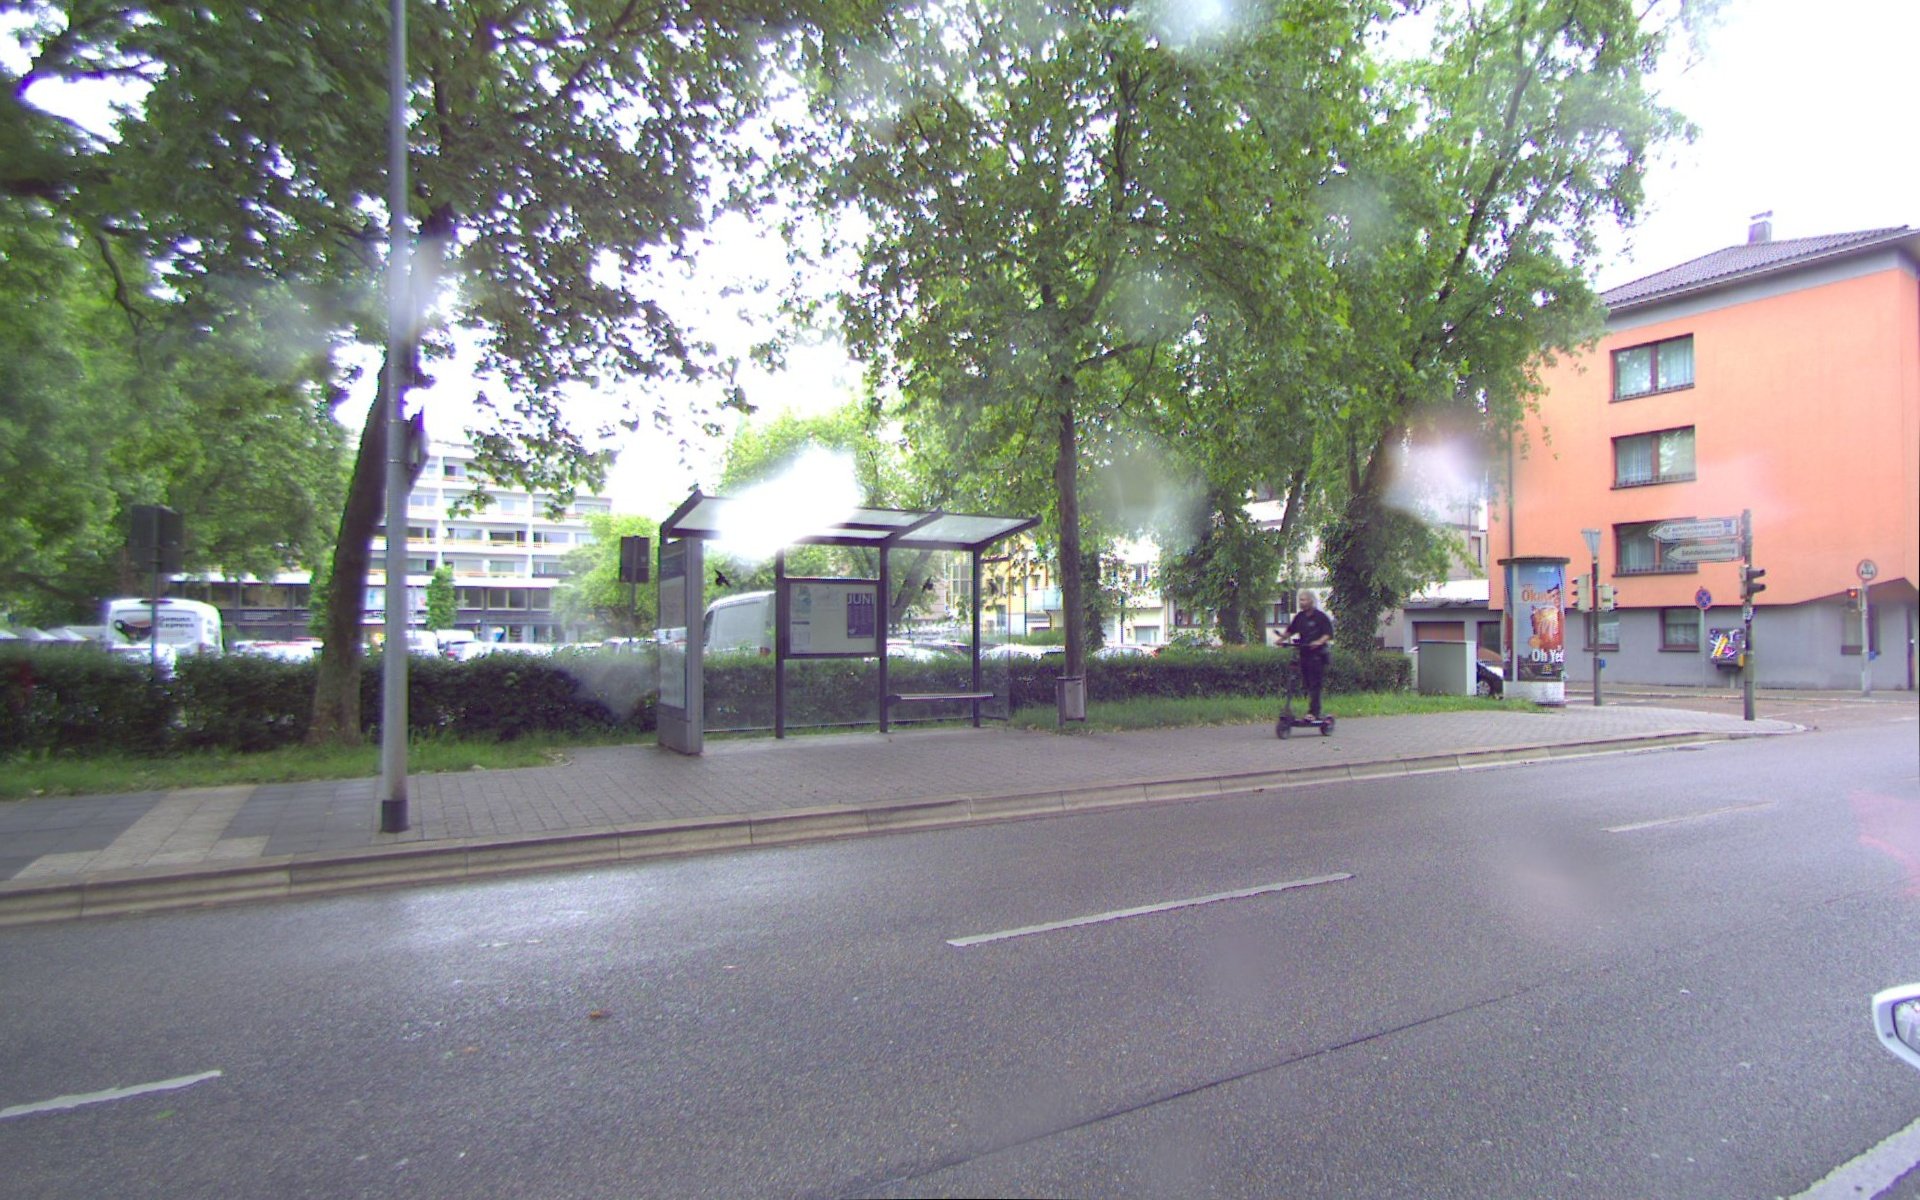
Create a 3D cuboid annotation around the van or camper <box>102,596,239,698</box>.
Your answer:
[{"bbox_3d":[-20.644,1.209,26.486,2.073,2.463,4.310,1,-2,-28],"label":"van or camper"}]

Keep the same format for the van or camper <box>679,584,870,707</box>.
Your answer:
[{"bbox_3d":[-3.566,0.812,18.584,1.978,1.975,4.572,1,-2,-31],"label":"van or camper"}]

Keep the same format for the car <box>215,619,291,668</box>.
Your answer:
[{"bbox_3d":[-25.073,1.518,35.737,1.876,1.506,3.966,2,0,-31],"label":"car"}]

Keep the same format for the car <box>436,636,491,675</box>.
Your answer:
[{"bbox_3d":[-22.130,2.429,44.686,1.876,1.506,3.966,2,0,-31],"label":"car"}]

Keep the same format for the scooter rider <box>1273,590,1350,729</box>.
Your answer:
[{"bbox_3d":[4.706,0.785,13.459,0.637,1.789,0.730,2,-2,-29],"label":"scooter rider"}]

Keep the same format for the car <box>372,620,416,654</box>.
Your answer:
[{"bbox_3d":[-32.498,2.122,57.611,2.075,1.745,3.966,2,0,-31],"label":"car"}]

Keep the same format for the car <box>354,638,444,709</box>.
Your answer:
[{"bbox_3d":[-14.628,1.829,26.115,1.876,1.506,3.966,2,0,-31],"label":"car"}]

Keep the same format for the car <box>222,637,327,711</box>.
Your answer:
[{"bbox_3d":[-16.878,1.761,24.898,1.876,1.506,3.966,2,0,-31],"label":"car"}]

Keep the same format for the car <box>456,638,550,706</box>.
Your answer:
[{"bbox_3d":[-12.534,1.892,27.408,1.876,1.506,3.966,2,0,-31],"label":"car"}]

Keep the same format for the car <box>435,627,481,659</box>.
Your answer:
[{"bbox_3d":[-26.988,2.286,53.940,1.876,1.506,3.966,2,0,-31],"label":"car"}]

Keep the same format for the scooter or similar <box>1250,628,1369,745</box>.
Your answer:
[{"bbox_3d":[4.667,1.111,13.417,1.382,1.465,0.810,1,0,-31],"label":"scooter or similar"}]

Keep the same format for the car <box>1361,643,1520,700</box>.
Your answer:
[{"bbox_3d":[13.934,2.032,29.218,3.812,1.553,1.792,-3,-3,42],"label":"car"}]
